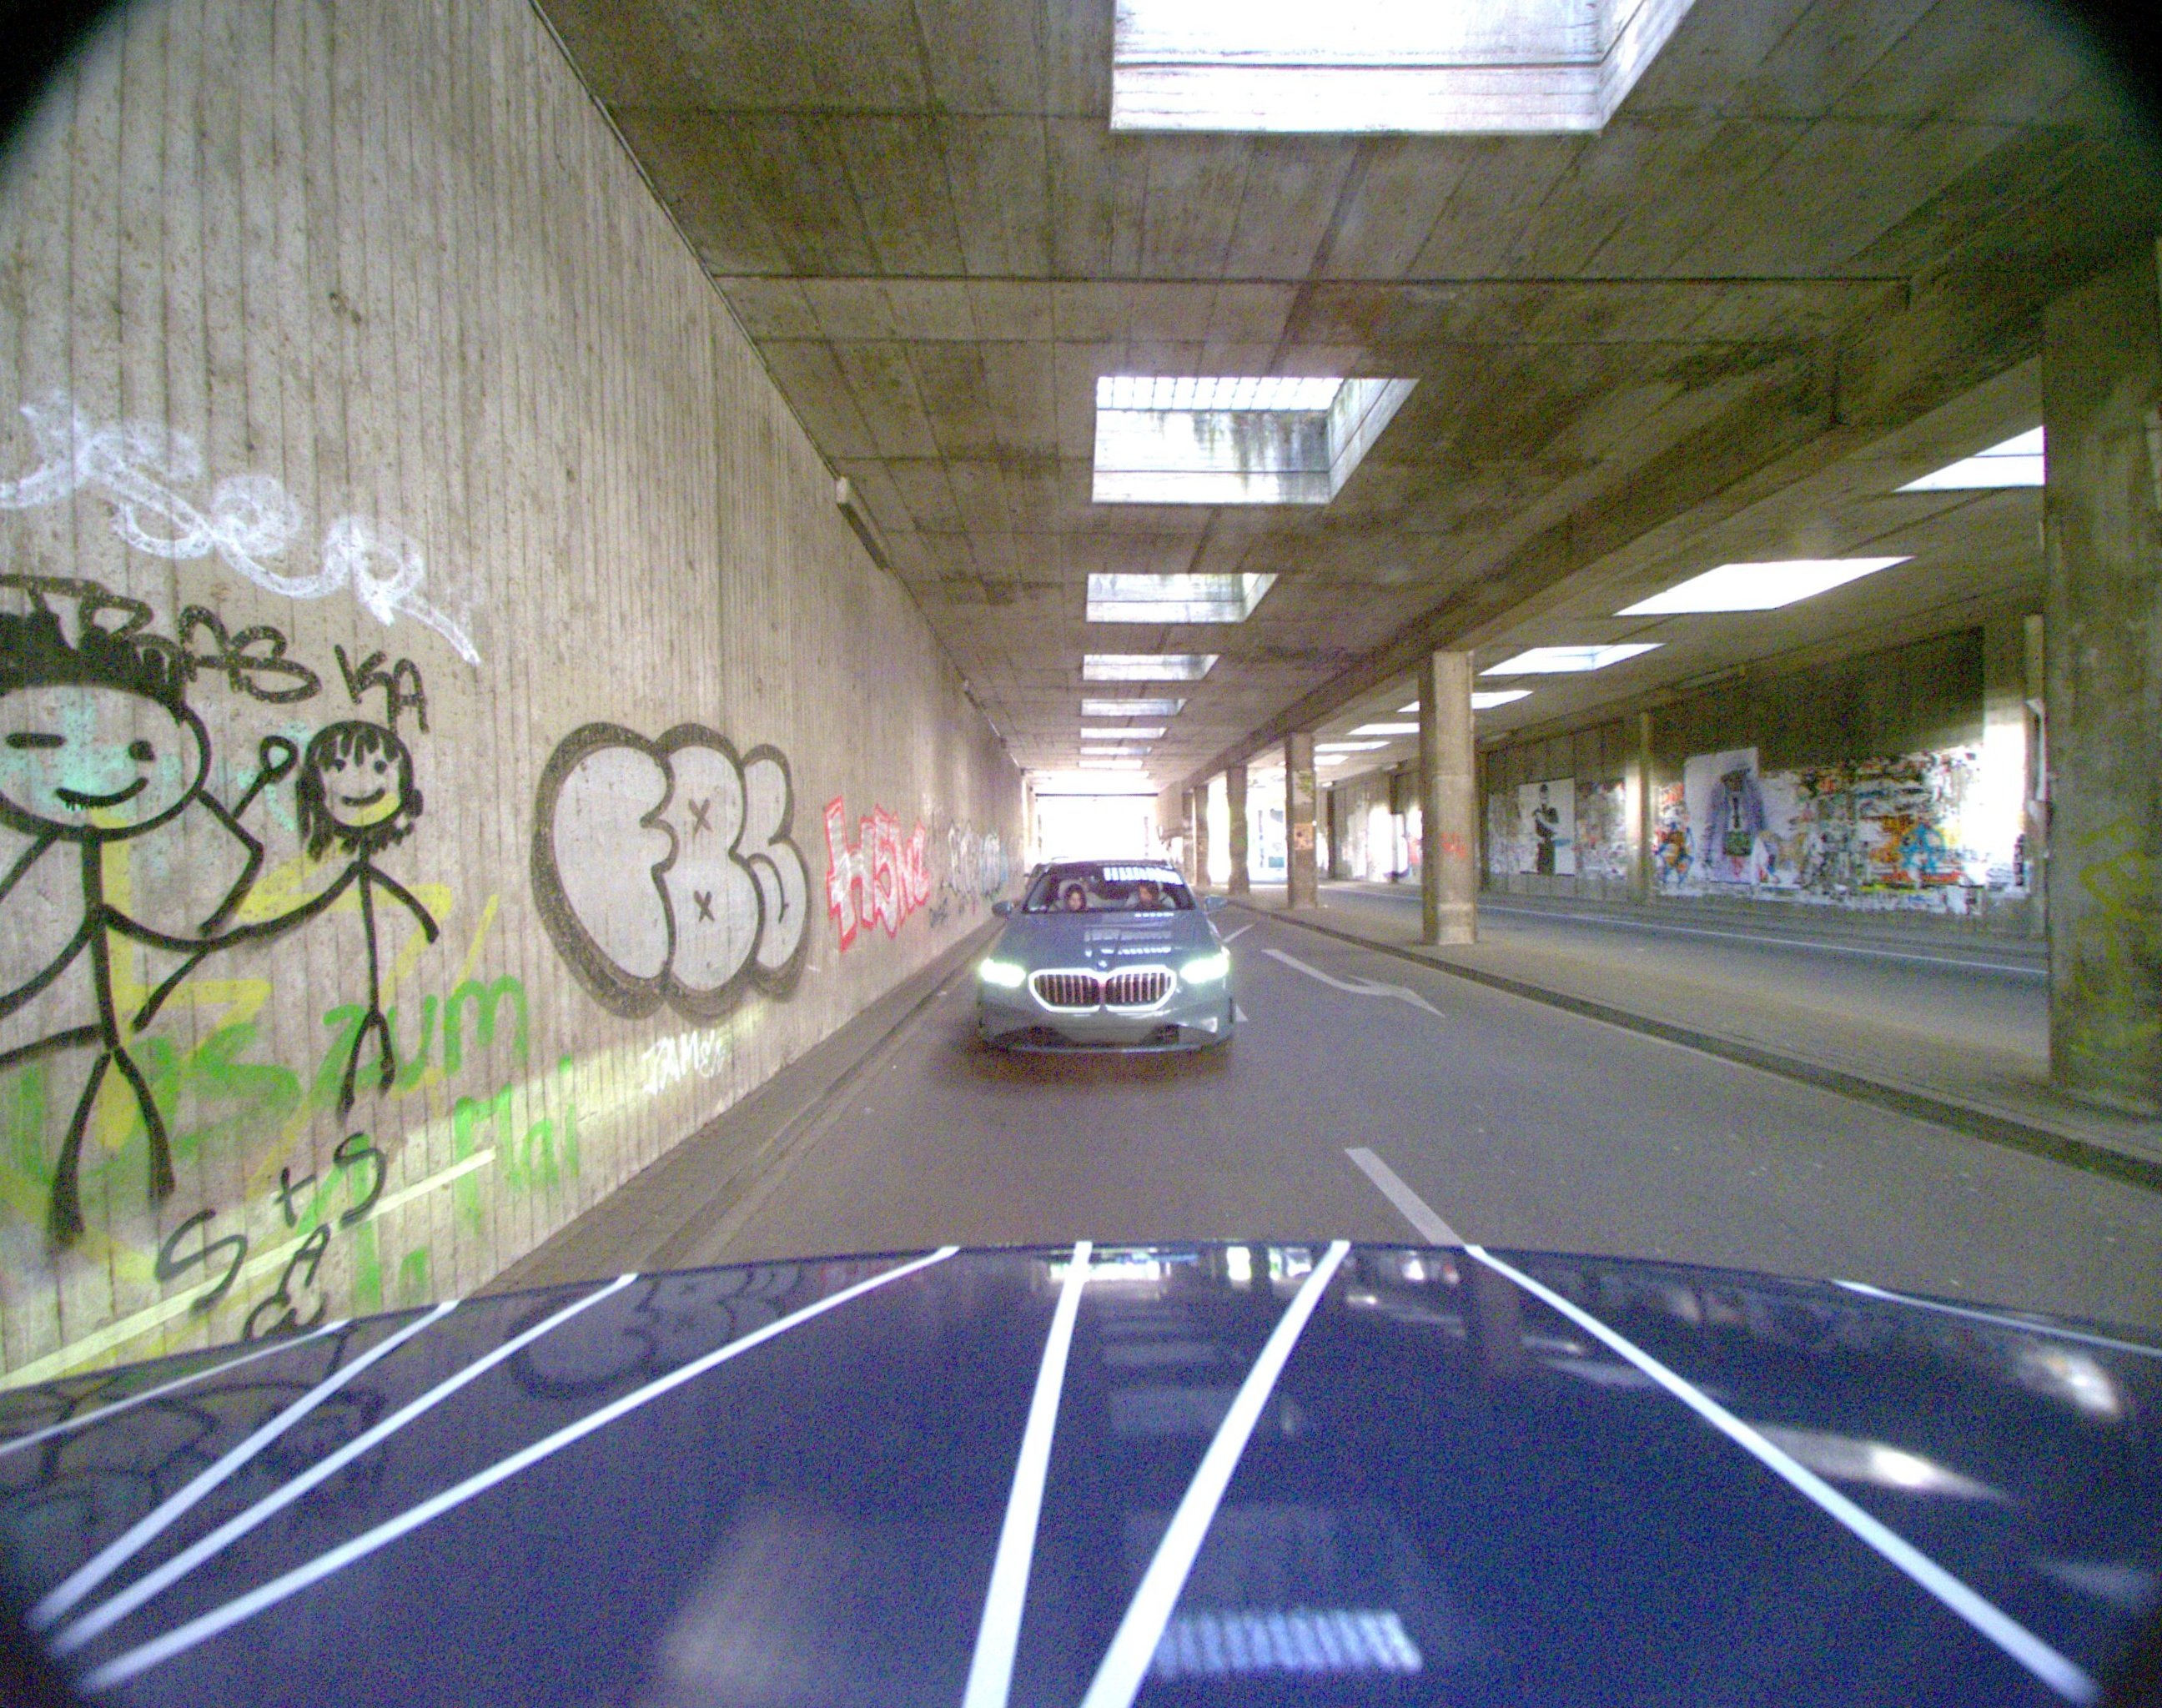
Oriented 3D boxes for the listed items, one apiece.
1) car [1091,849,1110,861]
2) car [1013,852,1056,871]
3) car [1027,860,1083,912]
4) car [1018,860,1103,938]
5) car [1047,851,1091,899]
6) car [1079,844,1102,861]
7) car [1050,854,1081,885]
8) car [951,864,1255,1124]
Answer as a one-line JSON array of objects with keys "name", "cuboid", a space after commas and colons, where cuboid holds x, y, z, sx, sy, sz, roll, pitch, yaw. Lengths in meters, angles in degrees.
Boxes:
[{"name": "car", "cuboid": [2.476, 0.154, 97.970, 1.741, 1.519, 3.786, -2, 0, -9]}, {"name": "car", "cuboid": [-4.447, 0.730, 73.108, 3.873, 1.597, 1.728, -3, 1, 1]}, {"name": "car", "cuboid": [-0.763, 0.954, 23.916, 1.592, 1.432, 3.806, -2, 0, 0]}, {"name": "car", "cuboid": [-0.427, 0.925, 17.290, 1.679, 1.516, 3.969, -2, 0, 0]}, {"name": "car", "cuboid": [-0.464, 0.777, 29.923, 1.592, 1.711, 3.694, -2, 0, 0]}, {"name": "car", "cuboid": [1.279, -0.176, 103.662, 2.161, 2.150, 4.785, -2, 0, -12]}, {"name": "car", "cuboid": [-0.809, 0.813, 41.250, 1.592, 1.562, 3.694, -2, 0, 0]}, {"name": "car", "cuboid": [0.126, 0.910, 7.281, 1.861, 1.516, 5.042, -2, 0, 0]}]
